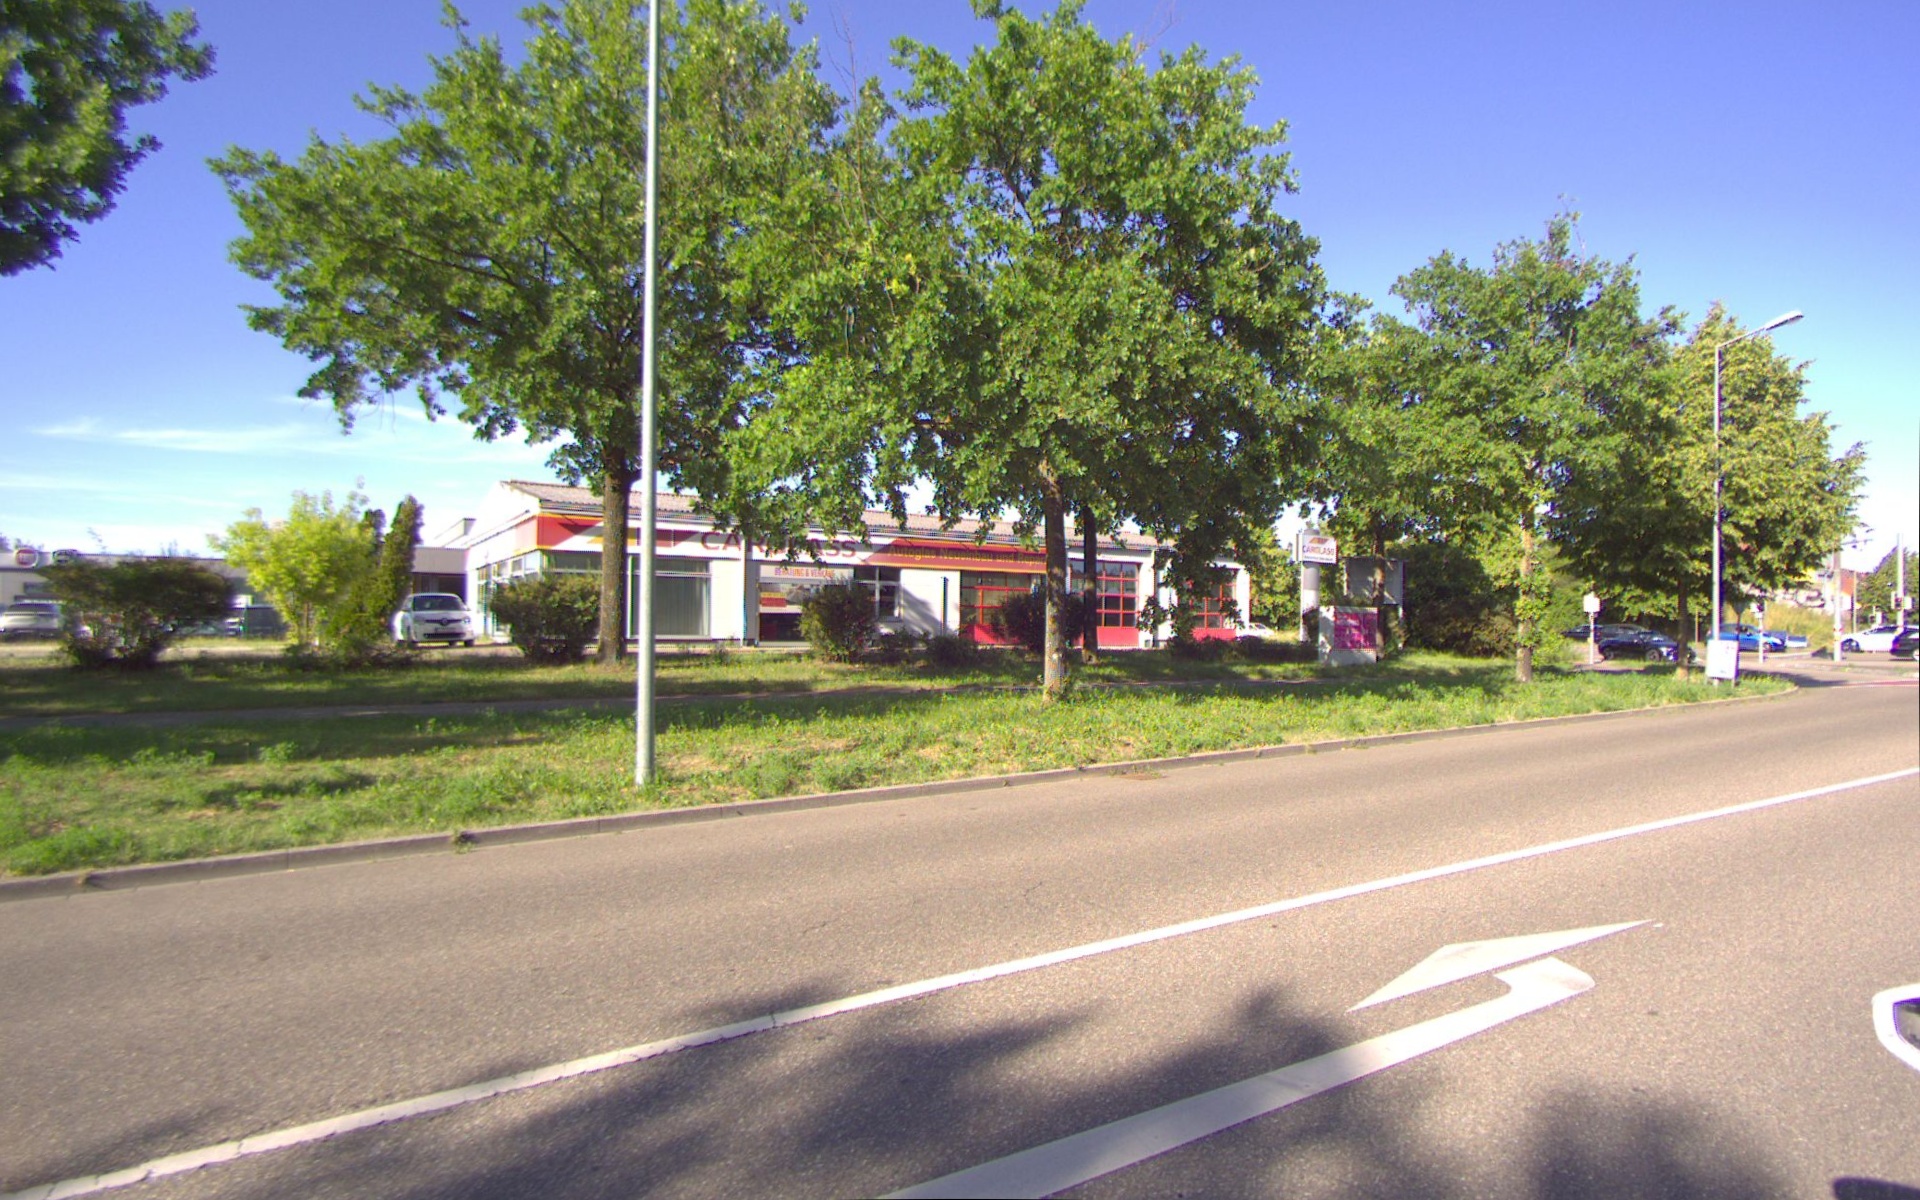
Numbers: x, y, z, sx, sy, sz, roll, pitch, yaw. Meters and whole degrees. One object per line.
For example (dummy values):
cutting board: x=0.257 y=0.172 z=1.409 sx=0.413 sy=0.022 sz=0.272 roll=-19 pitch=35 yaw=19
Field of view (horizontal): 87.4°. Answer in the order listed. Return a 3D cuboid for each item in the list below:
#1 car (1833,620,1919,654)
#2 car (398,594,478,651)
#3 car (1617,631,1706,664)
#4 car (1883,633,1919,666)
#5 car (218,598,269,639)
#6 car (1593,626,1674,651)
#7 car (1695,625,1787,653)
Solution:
car: x=51.345 y=2.063 z=55.694 sx=4.338 sy=1.705 sz=1.702 roll=2 pitch=-1 yaw=44
car: x=-15.111 y=0.638 z=29.003 sx=1.577 sy=1.517 sz=3.572 roll=2 pitch=-2 yaw=-35
car: x=32.805 y=2.226 z=47.149 sx=1.960 sy=1.421 sz=4.591 roll=-2 pitch=-3 yaw=16
car: x=44.101 y=2.219 z=44.553 sx=1.666 sy=1.460 sz=4.433 roll=1 pitch=-1 yaw=-35
car: x=-37.110 y=0.967 z=52.122 sx=1.864 sy=2.040 sz=3.965 roll=1 pitch=-1 yaw=-32
car: x=40.684 y=2.322 z=60.735 sx=1.495 sy=1.330 sz=3.816 roll=2 pitch=-1 yaw=-38
car: x=43.862 y=2.193 z=56.473 sx=1.668 sy=1.403 sz=3.816 roll=2 pitch=-1 yaw=-38
